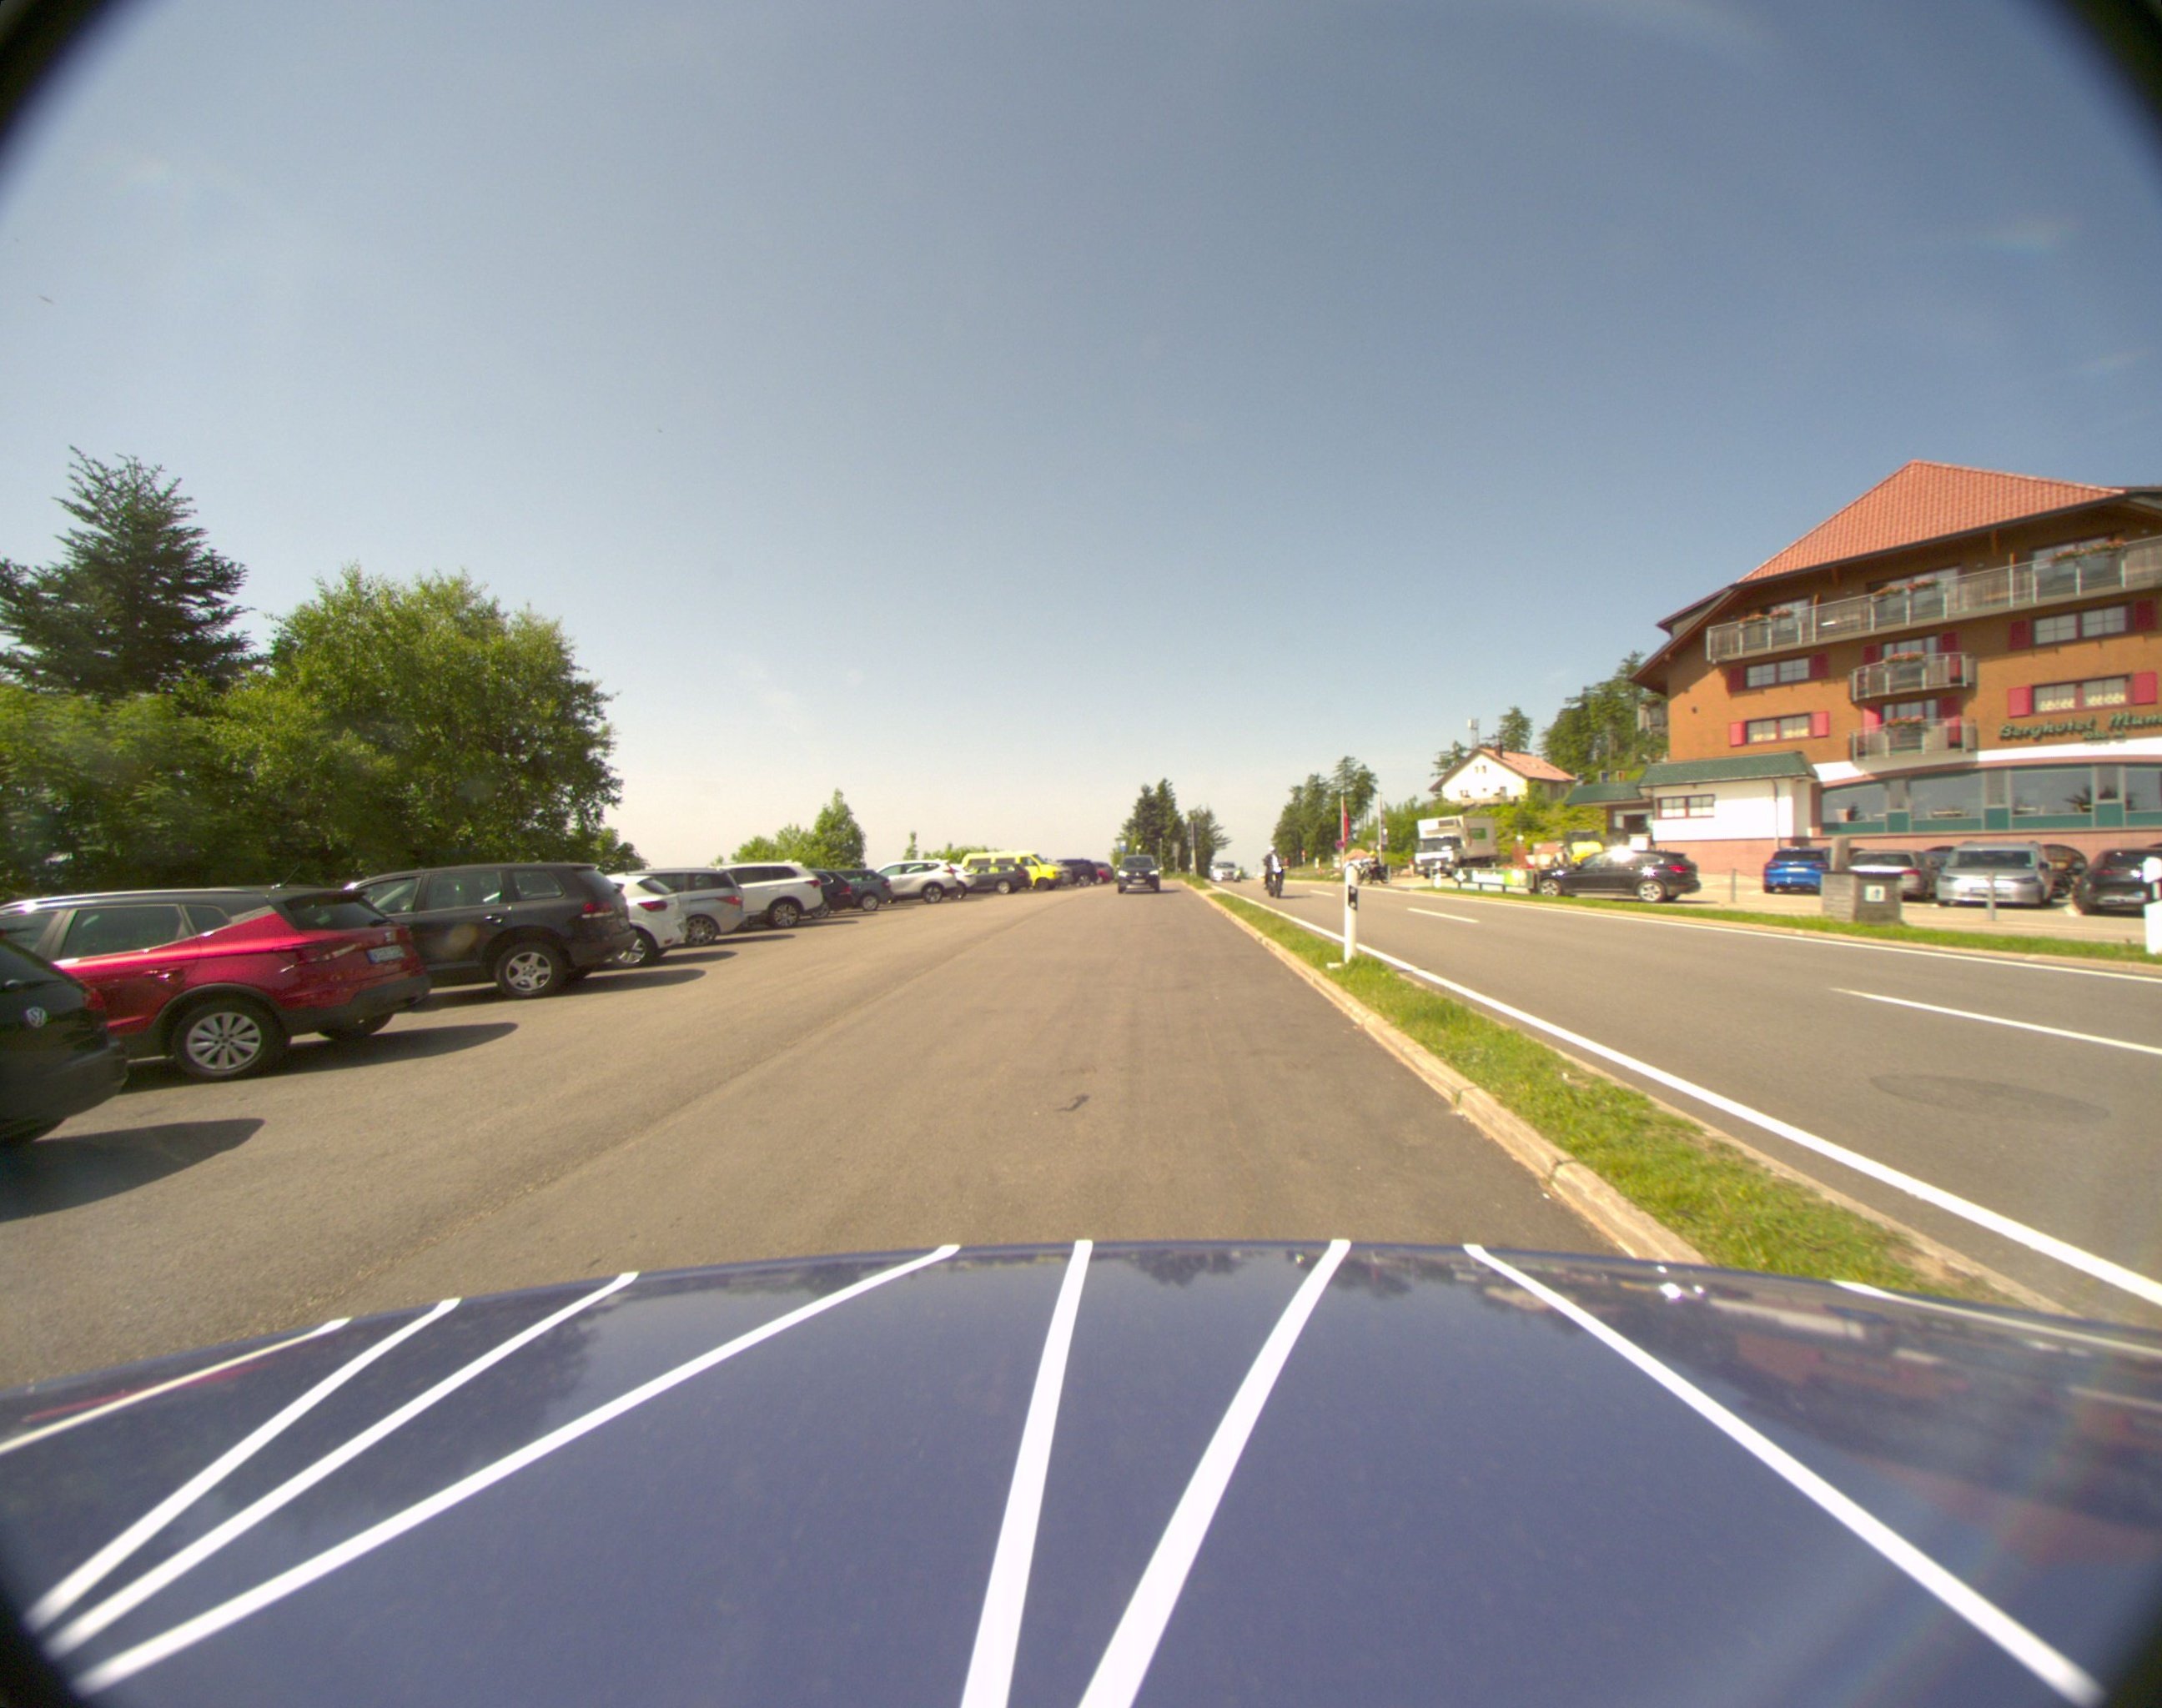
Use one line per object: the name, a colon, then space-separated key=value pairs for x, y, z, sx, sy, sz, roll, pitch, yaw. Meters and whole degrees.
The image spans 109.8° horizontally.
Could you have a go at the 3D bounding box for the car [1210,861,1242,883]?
car: x=9.869 y=1.218 z=51.946 sx=1.780 sy=1.448 sz=4.002 roll=0 pitch=-1 yaw=6

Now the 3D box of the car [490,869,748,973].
car: x=-8.807 y=1.204 z=14.876 sx=4.005 sy=1.540 sz=1.817 roll=-4 pitch=0 yaw=-27

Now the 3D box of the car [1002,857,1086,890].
car: x=-1.954 y=1.033 z=40.491 sx=4.158 sy=1.579 sz=1.706 roll=-2 pitch=-1 yaw=9

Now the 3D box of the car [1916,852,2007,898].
car: x=30.078 y=0.694 z=26.029 sx=4.009 sy=1.474 sz=1.930 roll=1 pitch=0 yaw=-41

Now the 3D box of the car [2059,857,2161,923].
car: x=24.511 y=0.804 z=17.752 sx=4.008 sy=1.422 sz=1.909 roll=1 pitch=-1 yaw=-40

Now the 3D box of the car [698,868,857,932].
car: x=-8.791 y=1.280 z=22.206 sx=4.055 sy=1.452 sz=1.892 roll=-4 pitch=0 yaw=-22

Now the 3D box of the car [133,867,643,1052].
car: x=-8.257 y=1.144 z=9.673 sx=4.277 sy=1.685 sz=1.988 roll=-4 pitch=0 yaw=-20

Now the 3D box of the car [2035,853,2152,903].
car: x=32.401 y=0.747 z=24.422 sx=4.009 sy=1.474 sz=1.930 roll=1 pitch=0 yaw=-41

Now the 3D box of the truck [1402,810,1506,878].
truck: x=24.255 y=-0.680 z=49.163 sx=8.788 sy=3.948 sz=3.062 roll=-3 pitch=-1 yaw=-44

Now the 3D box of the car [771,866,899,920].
car: x=-8.052 y=1.249 z=25.071 sx=3.808 sy=1.450 sz=1.660 roll=-3 pitch=0 yaw=-16

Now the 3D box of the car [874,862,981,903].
car: x=-6.285 y=1.154 z=31.545 sx=4.098 sy=1.491 sz=1.943 roll=-2 pitch=0 yaw=-6

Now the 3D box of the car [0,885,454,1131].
car: x=-8.079 y=1.202 z=6.263 sx=4.003 sy=1.580 sz=1.861 roll=-4 pitch=0 yaw=-20

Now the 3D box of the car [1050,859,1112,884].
car: x=-0.032 y=1.185 z=49.940 sx=3.998 sy=1.500 sz=1.842 roll=-2 pitch=-1 yaw=-3

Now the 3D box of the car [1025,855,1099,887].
car: x=-1.014 y=0.946 z=42.556 sx=3.997 sy=1.604 sz=1.917 roll=-2 pitch=-1 yaw=1

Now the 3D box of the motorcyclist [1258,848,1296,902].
motorcyclist: x=6.567 y=0.678 z=25.506 sx=0.925 sy=1.708 sz=1.452 roll=-2 pitch=1 yaw=4

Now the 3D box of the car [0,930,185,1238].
car: x=-7.267 y=1.277 z=3.257 sx=4.004 sy=1.407 sz=1.741 roll=-4 pitch=0 yaw=-23

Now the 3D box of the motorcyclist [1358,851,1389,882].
motorcyclist: x=16.216 y=0.693 z=42.195 sx=1.247 sy=1.710 sz=1.064 roll=-1 pitch=1 yaw=-4

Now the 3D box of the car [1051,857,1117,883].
car: x=0.201 y=1.115 z=52.691 sx=4.408 sy=1.559 sz=1.908 roll=-3 pitch=-1 yaw=0

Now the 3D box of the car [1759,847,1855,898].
car: x=25.914 y=0.602 z=27.080 sx=4.554 sy=1.654 sz=1.934 roll=0 pitch=0 yaw=-39

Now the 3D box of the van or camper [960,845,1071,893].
van or camper: x=-3.224 y=0.754 z=37.788 sx=5.099 sy=2.001 sz=1.884 roll=-4 pitch=-1 yaw=11

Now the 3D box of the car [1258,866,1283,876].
car: x=38.920 y=3.544 z=156.015 sx=4.725 sy=1.870 sz=1.934 roll=2 pitch=-1 yaw=9

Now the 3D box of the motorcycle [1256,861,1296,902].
motorcycle: x=6.547 y=0.904 z=25.611 sx=0.878 sy=1.249 sz=2.277 roll=-2 pitch=1 yaw=4

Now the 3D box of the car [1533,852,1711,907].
car: x=16.628 y=0.749 z=23.528 sx=1.811 sy=1.531 sz=4.181 roll=1 pitch=-1 yaw=-39

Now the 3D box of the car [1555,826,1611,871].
car: x=29.230 y=-0.275 z=44.381 sx=1.995 sy=2.481 sz=4.007 roll=0 pitch=-1 yaw=22

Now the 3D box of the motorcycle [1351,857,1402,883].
motorcycle: x=16.392 y=0.877 z=42.176 sx=2.444 sy=1.398 sz=1.005 roll=-1 pitch=1 yaw=-5

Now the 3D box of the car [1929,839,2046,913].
car: x=25.297 y=0.596 z=21.161 sx=4.539 sy=1.852 sz=1.830 roll=1 pitch=-1 yaw=-37

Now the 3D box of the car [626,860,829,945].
car: x=-8.587 y=1.098 z=18.549 sx=4.233 sy=1.684 sz=1.859 roll=-3 pitch=0 yaw=-31

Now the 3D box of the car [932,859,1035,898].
car: x=-4.420 y=1.112 z=34.894 sx=4.361 sy=1.478 sz=1.813 roll=-3 pitch=-1 yaw=1

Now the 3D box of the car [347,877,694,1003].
car: x=-8.559 y=1.242 z=12.072 sx=4.003 sy=1.467 sz=1.765 roll=-3 pitch=1 yaw=-19

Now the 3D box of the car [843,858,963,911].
car: x=-6.675 y=1.108 z=28.650 sx=4.186 sy=1.640 sz=1.890 roll=-3 pitch=0 yaw=-14

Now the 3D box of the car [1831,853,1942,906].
car: x=25.321 y=0.777 z=23.858 sx=4.008 sy=1.536 sz=1.995 roll=1 pitch=-1 yaw=-37

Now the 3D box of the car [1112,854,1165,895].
car: x=2.504 y=0.833 z=32.173 sx=1.984 sy=1.607 sz=4.152 roll=-1 pitch=0 yaw=7
